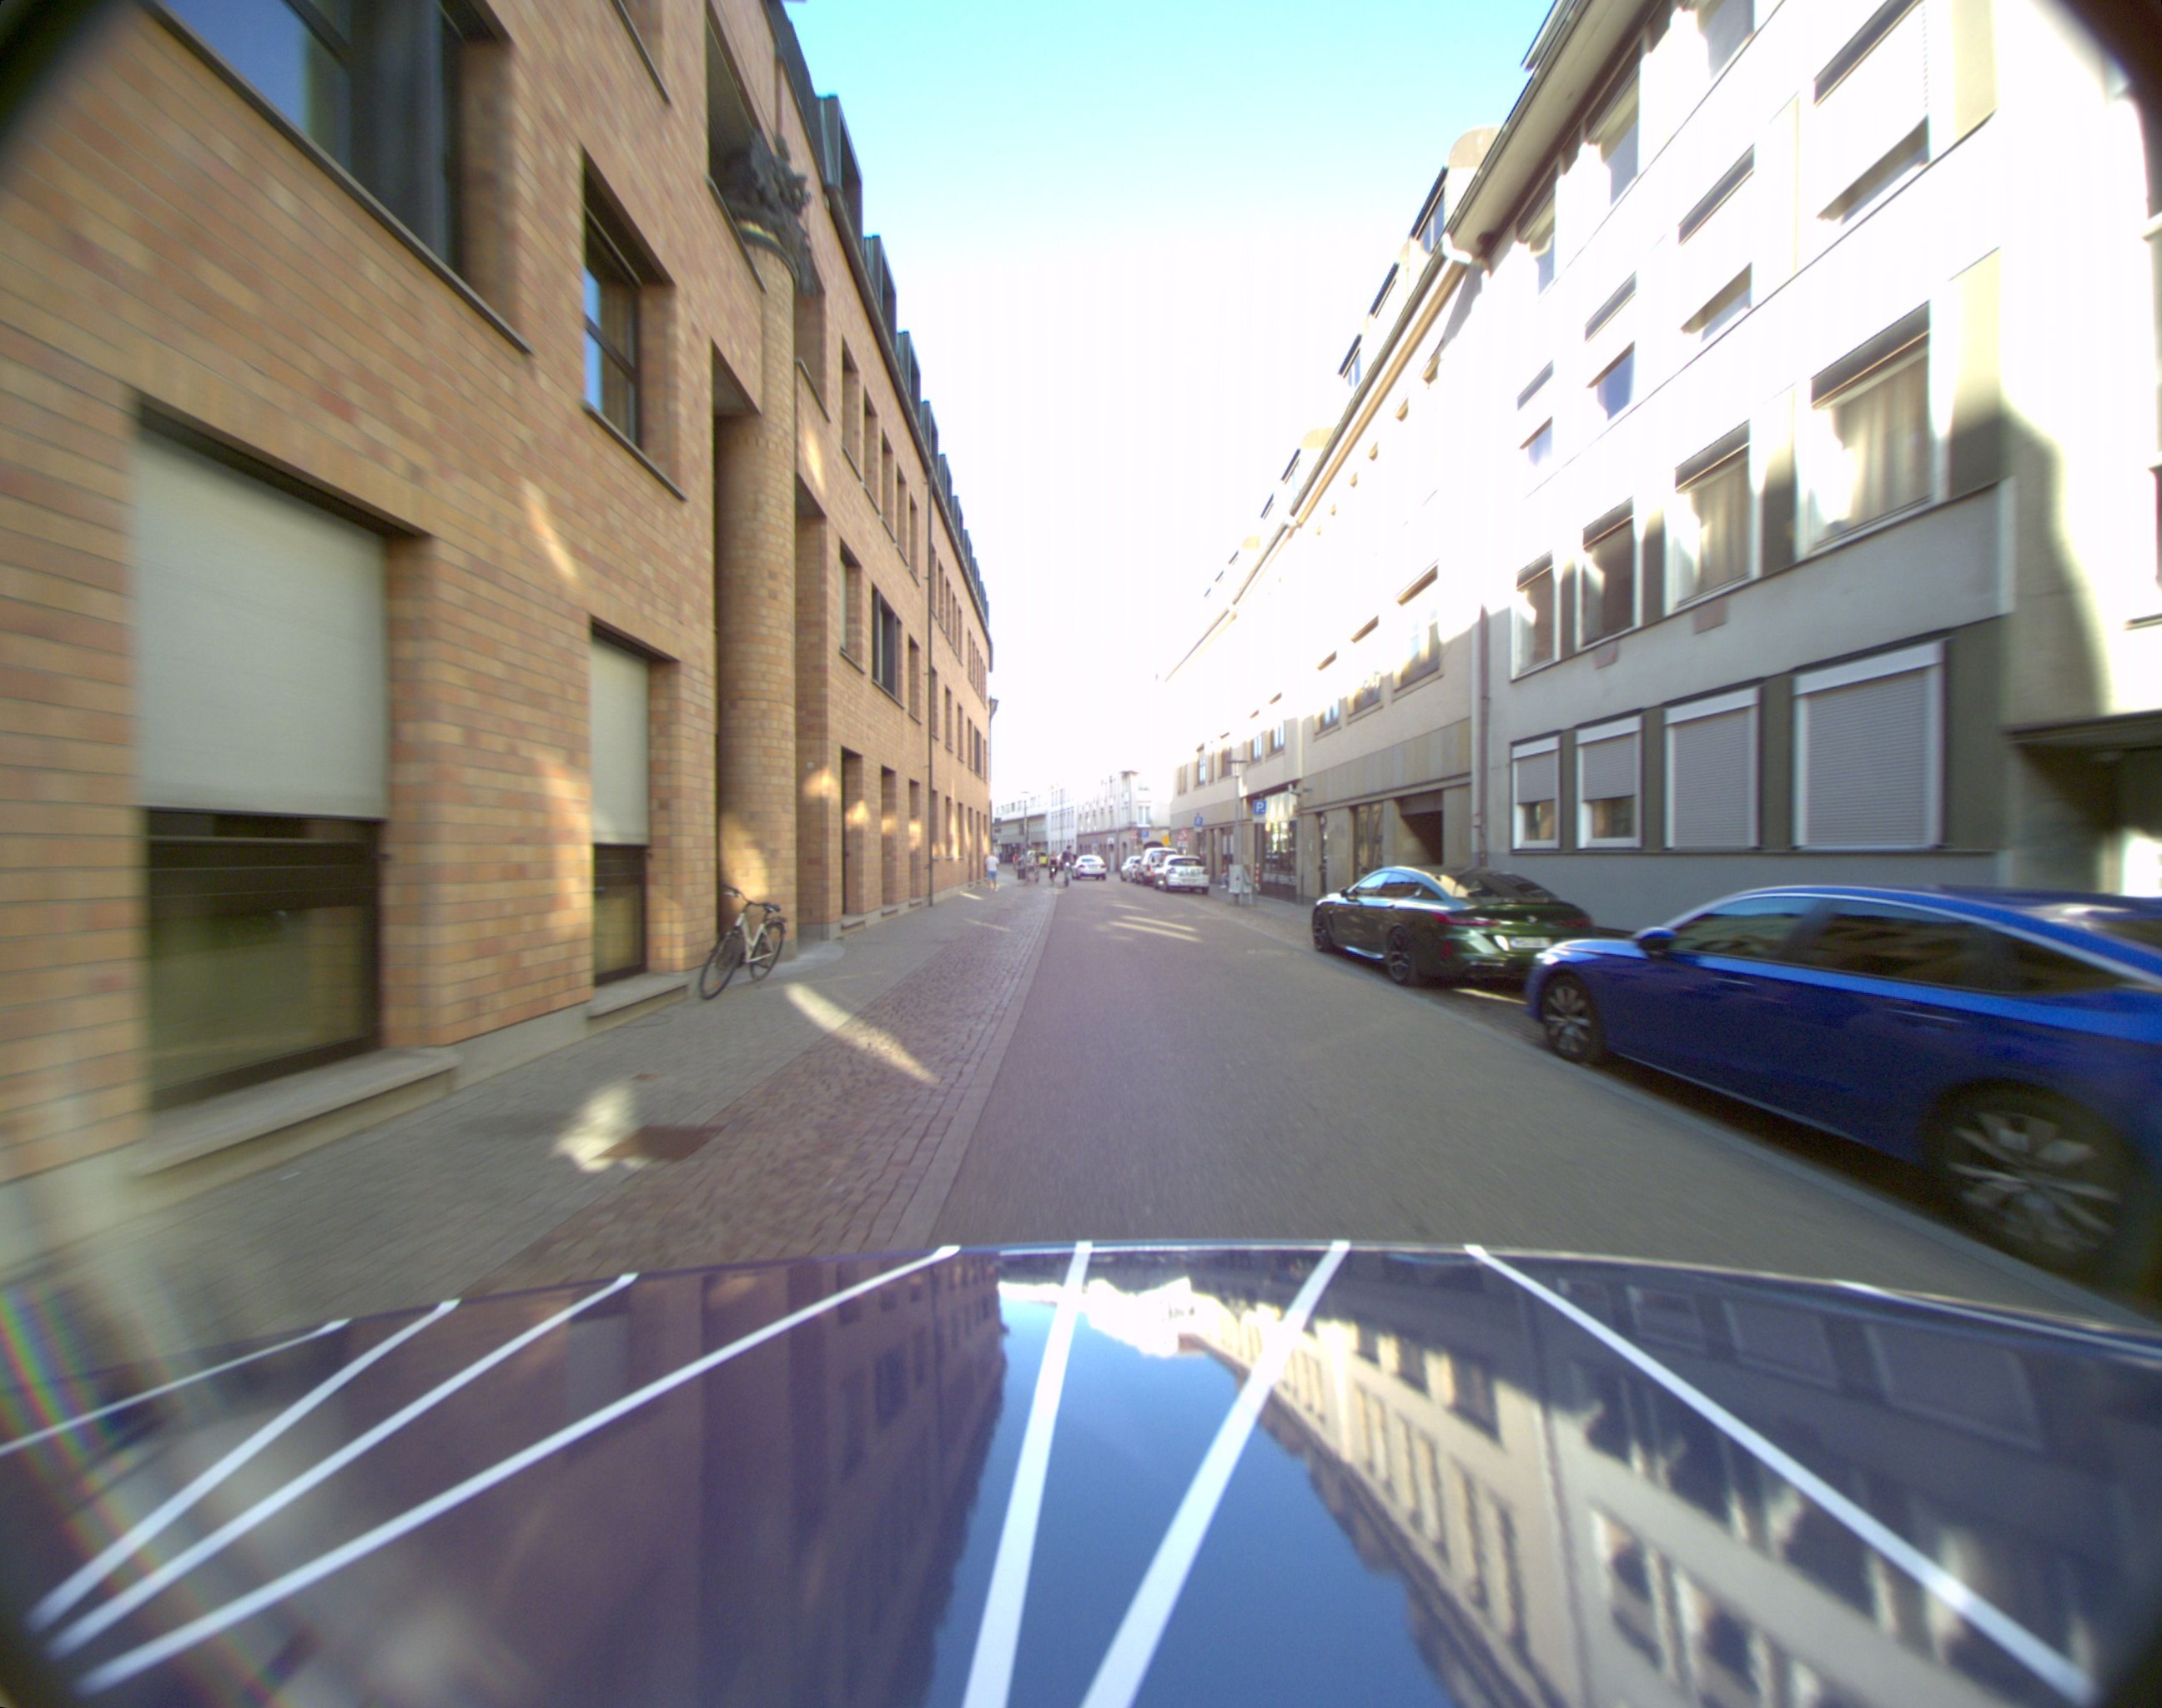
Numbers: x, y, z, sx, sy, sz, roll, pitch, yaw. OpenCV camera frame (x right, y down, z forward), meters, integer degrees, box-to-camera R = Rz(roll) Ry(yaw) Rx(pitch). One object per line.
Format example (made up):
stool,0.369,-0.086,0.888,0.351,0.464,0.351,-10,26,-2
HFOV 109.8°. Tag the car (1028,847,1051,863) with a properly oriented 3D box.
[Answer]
car,-4.847,0.096,89.160,1.891,1.863,3.994,0,1,-15

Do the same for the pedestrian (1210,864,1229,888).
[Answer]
pedestrian,6.251,0.986,34.320,0.657,1.029,0.617,0,1,-7

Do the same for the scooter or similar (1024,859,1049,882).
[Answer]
scooter or similar,-2.422,0.887,41.687,0.537,1.228,1.422,-1,0,36

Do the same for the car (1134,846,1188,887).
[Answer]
car,3.853,0.575,37.422,1.905,1.847,4.732,1,0,-3

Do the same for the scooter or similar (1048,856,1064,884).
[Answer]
scooter or similar,-1.278,0.798,38.670,0.550,1.388,1.554,0,1,-12

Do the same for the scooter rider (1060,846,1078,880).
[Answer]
scooter rider,-0.569,0.411,35.477,0.648,1.585,0.599,-2,2,-12

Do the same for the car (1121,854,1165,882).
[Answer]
car,3.464,0.782,43.390,1.742,1.483,3.797,1,0,-7

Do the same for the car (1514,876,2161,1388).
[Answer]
car,4.443,0.954,3.987,1.894,1.521,4.339,0,0,1

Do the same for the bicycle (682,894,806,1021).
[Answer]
bicycle,-3.630,1.058,8.371,0.551,1.097,1.981,3,0,-3

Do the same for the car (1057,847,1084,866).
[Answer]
car,-1.004,0.240,73.231,1.889,1.695,3.996,-3,1,-10

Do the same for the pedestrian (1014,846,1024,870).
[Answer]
pedestrian,-5.205,0.369,63.769,0.716,2.002,0.698,0,1,-13

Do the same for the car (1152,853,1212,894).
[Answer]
car,4.083,0.773,31.280,1.674,1.513,3.774,2,0,-4

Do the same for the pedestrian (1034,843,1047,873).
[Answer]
pedestrian,-2.680,0.251,50.442,0.716,2.002,0.698,0,1,-13

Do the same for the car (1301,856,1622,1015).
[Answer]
car,4.538,0.836,10.070,1.894,1.521,4.728,1,1,0

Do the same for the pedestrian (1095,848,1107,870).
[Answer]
pedestrian,1.764,0.433,68.340,0.938,2.002,0.698,0,1,-13

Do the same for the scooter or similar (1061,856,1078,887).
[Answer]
scooter or similar,-0.555,0.788,35.521,0.524,1.388,1.554,0,1,-12

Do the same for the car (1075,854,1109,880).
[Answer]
car,0.617,0.751,46.242,1.719,1.509,4.158,0,0,-4

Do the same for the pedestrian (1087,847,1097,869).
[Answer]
pedestrian,1.000,0.371,68.089,0.716,2.002,0.698,0,1,-13

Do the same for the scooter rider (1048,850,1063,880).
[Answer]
scooter rider,-1.304,0.550,38.808,0.592,1.500,0.599,-2,2,-12

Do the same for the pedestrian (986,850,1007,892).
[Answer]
pedestrian,-3.492,0.682,31.489,0.762,1.706,0.821,2,1,-1
